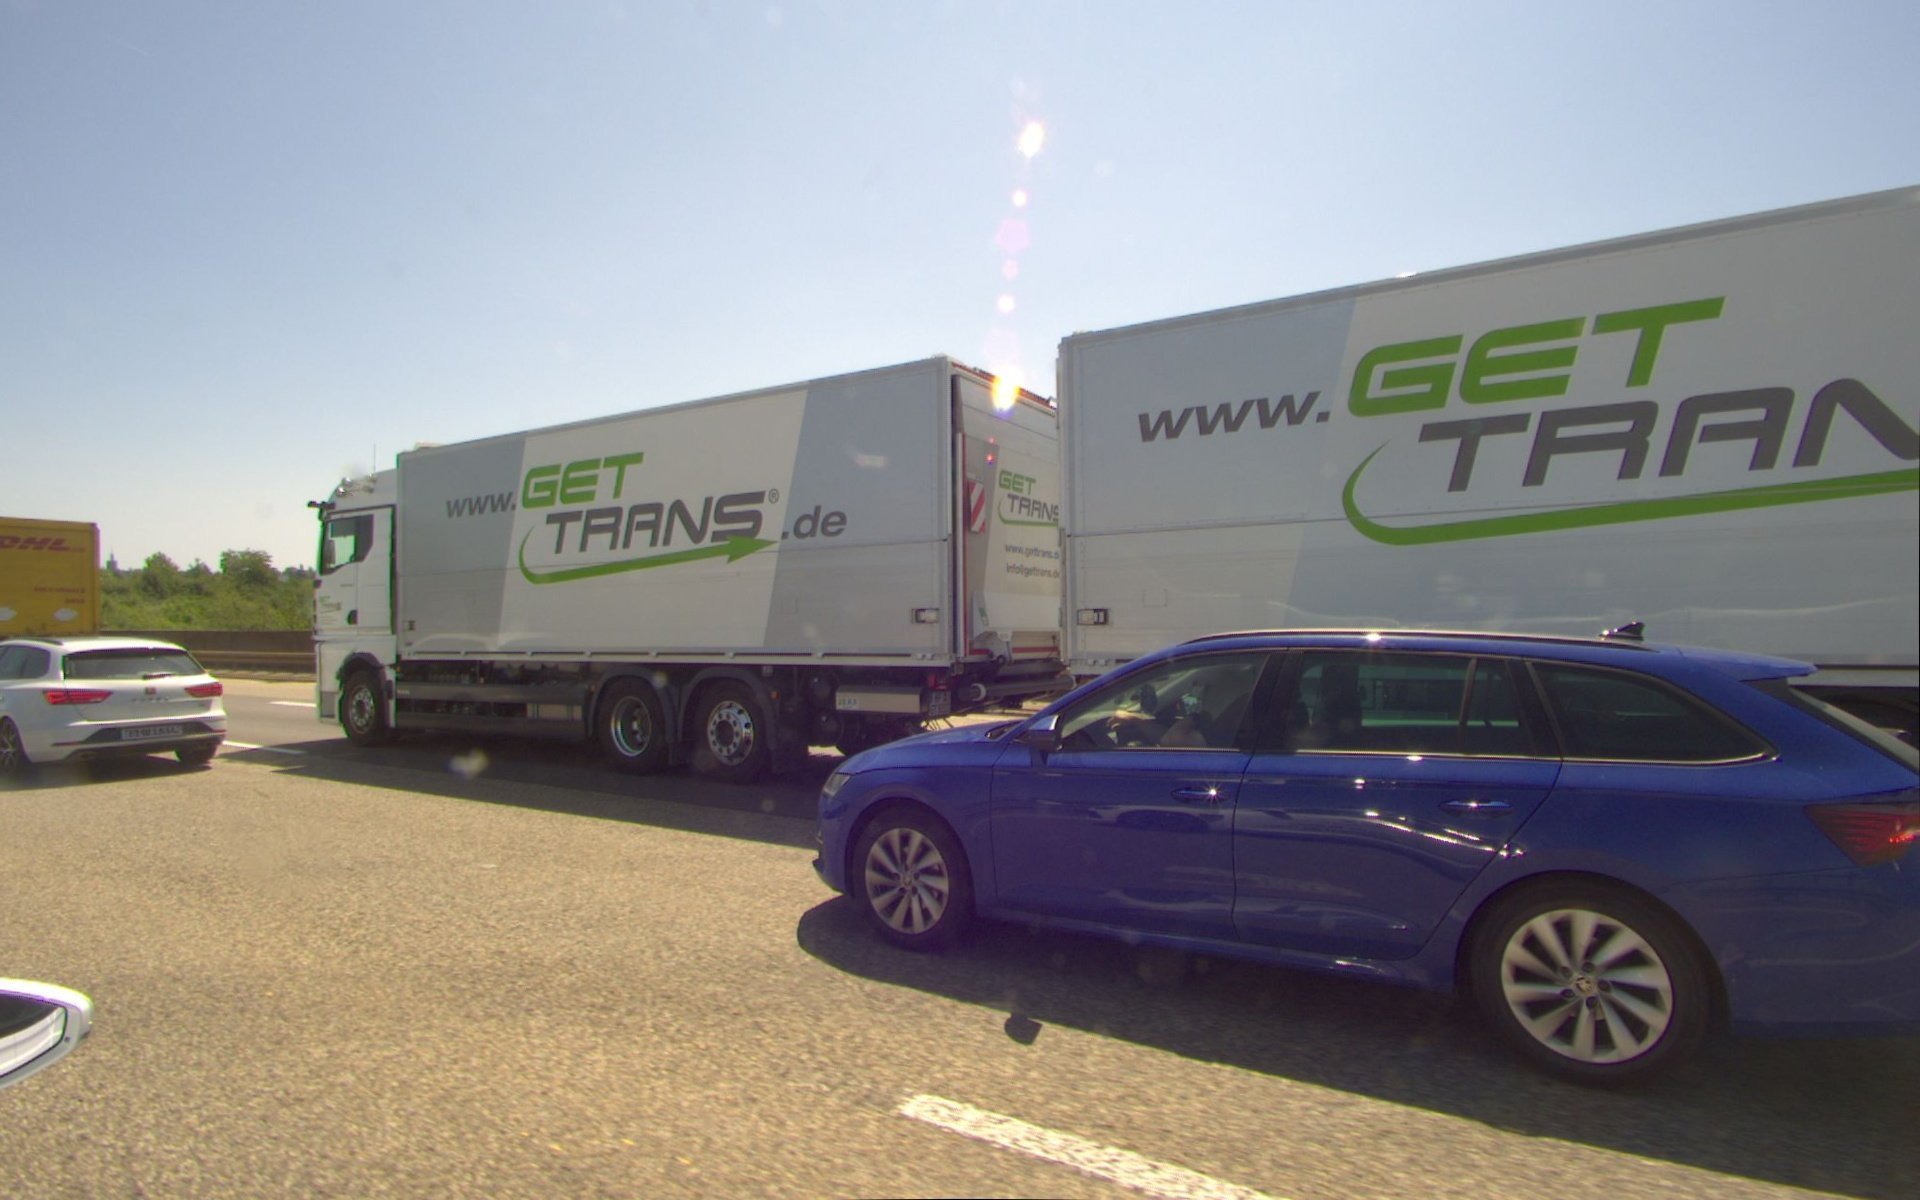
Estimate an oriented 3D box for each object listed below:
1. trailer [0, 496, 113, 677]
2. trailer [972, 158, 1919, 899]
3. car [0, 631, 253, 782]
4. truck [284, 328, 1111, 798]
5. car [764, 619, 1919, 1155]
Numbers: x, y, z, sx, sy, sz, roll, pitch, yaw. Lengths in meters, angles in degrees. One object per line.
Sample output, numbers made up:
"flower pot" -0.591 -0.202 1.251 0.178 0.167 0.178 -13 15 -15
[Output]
"trailer" -25.073 -0.169 25.525 8.802 4.074 2.697 -2 -2 32
"trailer" 4.299 -0.297 6.841 8.171 3.640 2.840 -1 -2 31
"car" -9.946 1.063 11.296 4.128 1.405 1.778 -1 -1 32
"truck" -3.716 -0.123 11.754 10.613 3.648 2.847 -2 -2 31
"car" 1.344 0.833 4.533 4.435 1.459 1.707 -1 -1 32
